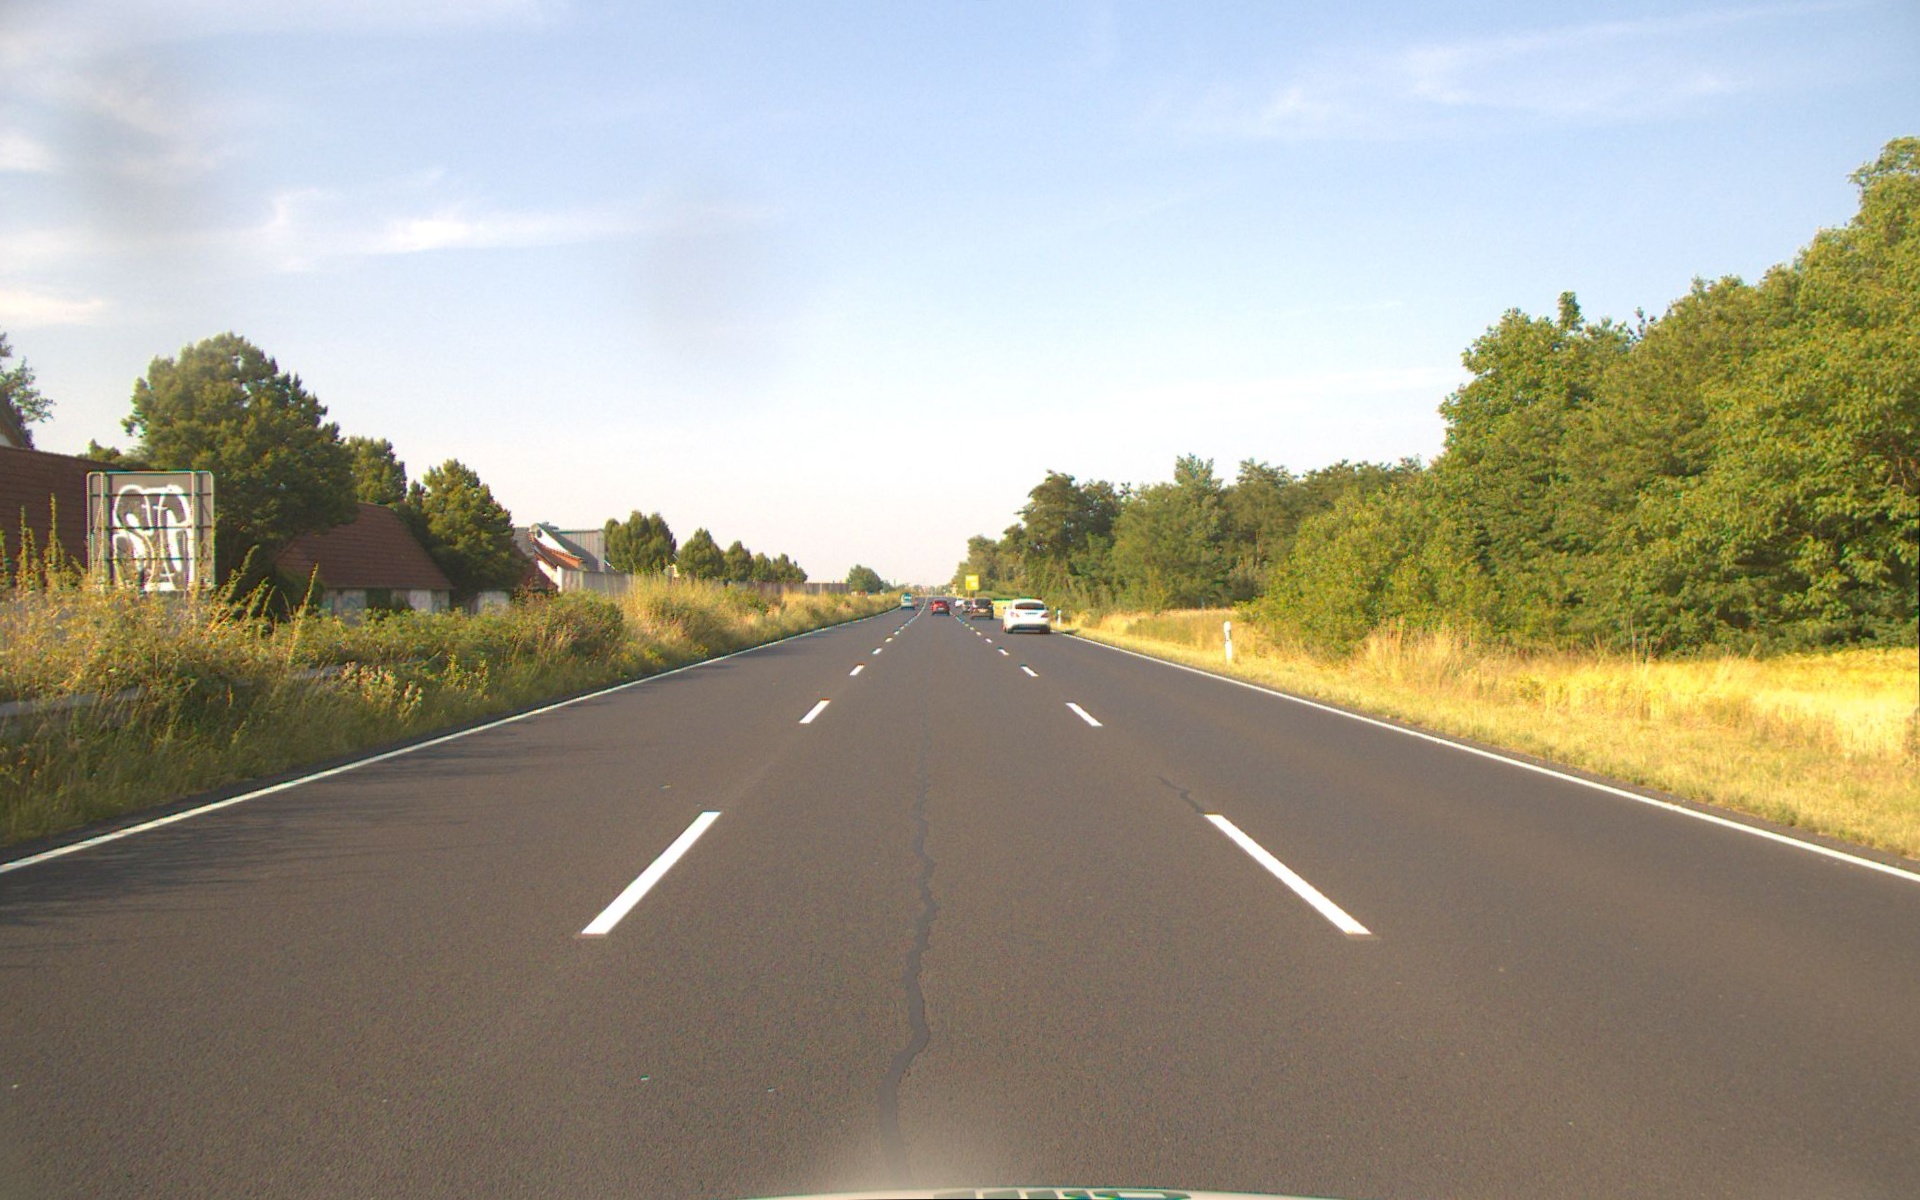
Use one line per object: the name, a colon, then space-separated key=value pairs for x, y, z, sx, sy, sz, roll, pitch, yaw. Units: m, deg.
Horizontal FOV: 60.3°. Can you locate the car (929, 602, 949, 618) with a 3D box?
car: x=-1.992 y=0.963 z=156.743 sx=1.775 sy=1.461 sz=3.857 roll=1 pitch=-1 yaw=-2

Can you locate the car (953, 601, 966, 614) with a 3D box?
car: x=-0.067 y=1.090 z=236.900 sx=1.809 sy=1.780 sz=3.999 roll=1 pitch=-1 yaw=0

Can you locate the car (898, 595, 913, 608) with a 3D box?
car: x=-7.044 y=0.261 z=214.785 sx=1.722 sy=1.646 sz=4.000 roll=1 pitch=-1 yaw=1

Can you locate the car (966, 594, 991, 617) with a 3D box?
car: x=1.413 y=0.421 z=127.810 sx=1.791 sy=1.758 sz=3.999 roll=1 pitch=-1 yaw=-1

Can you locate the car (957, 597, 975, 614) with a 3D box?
car: x=0.594 y=0.568 z=169.168 sx=1.797 sy=1.747 sz=3.861 roll=1 pitch=-1 yaw=-1

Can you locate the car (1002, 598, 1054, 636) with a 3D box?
car: x=2.869 y=0.733 z=70.257 sx=1.953 sy=1.543 sz=3.999 roll=1 pitch=-1 yaw=-1
